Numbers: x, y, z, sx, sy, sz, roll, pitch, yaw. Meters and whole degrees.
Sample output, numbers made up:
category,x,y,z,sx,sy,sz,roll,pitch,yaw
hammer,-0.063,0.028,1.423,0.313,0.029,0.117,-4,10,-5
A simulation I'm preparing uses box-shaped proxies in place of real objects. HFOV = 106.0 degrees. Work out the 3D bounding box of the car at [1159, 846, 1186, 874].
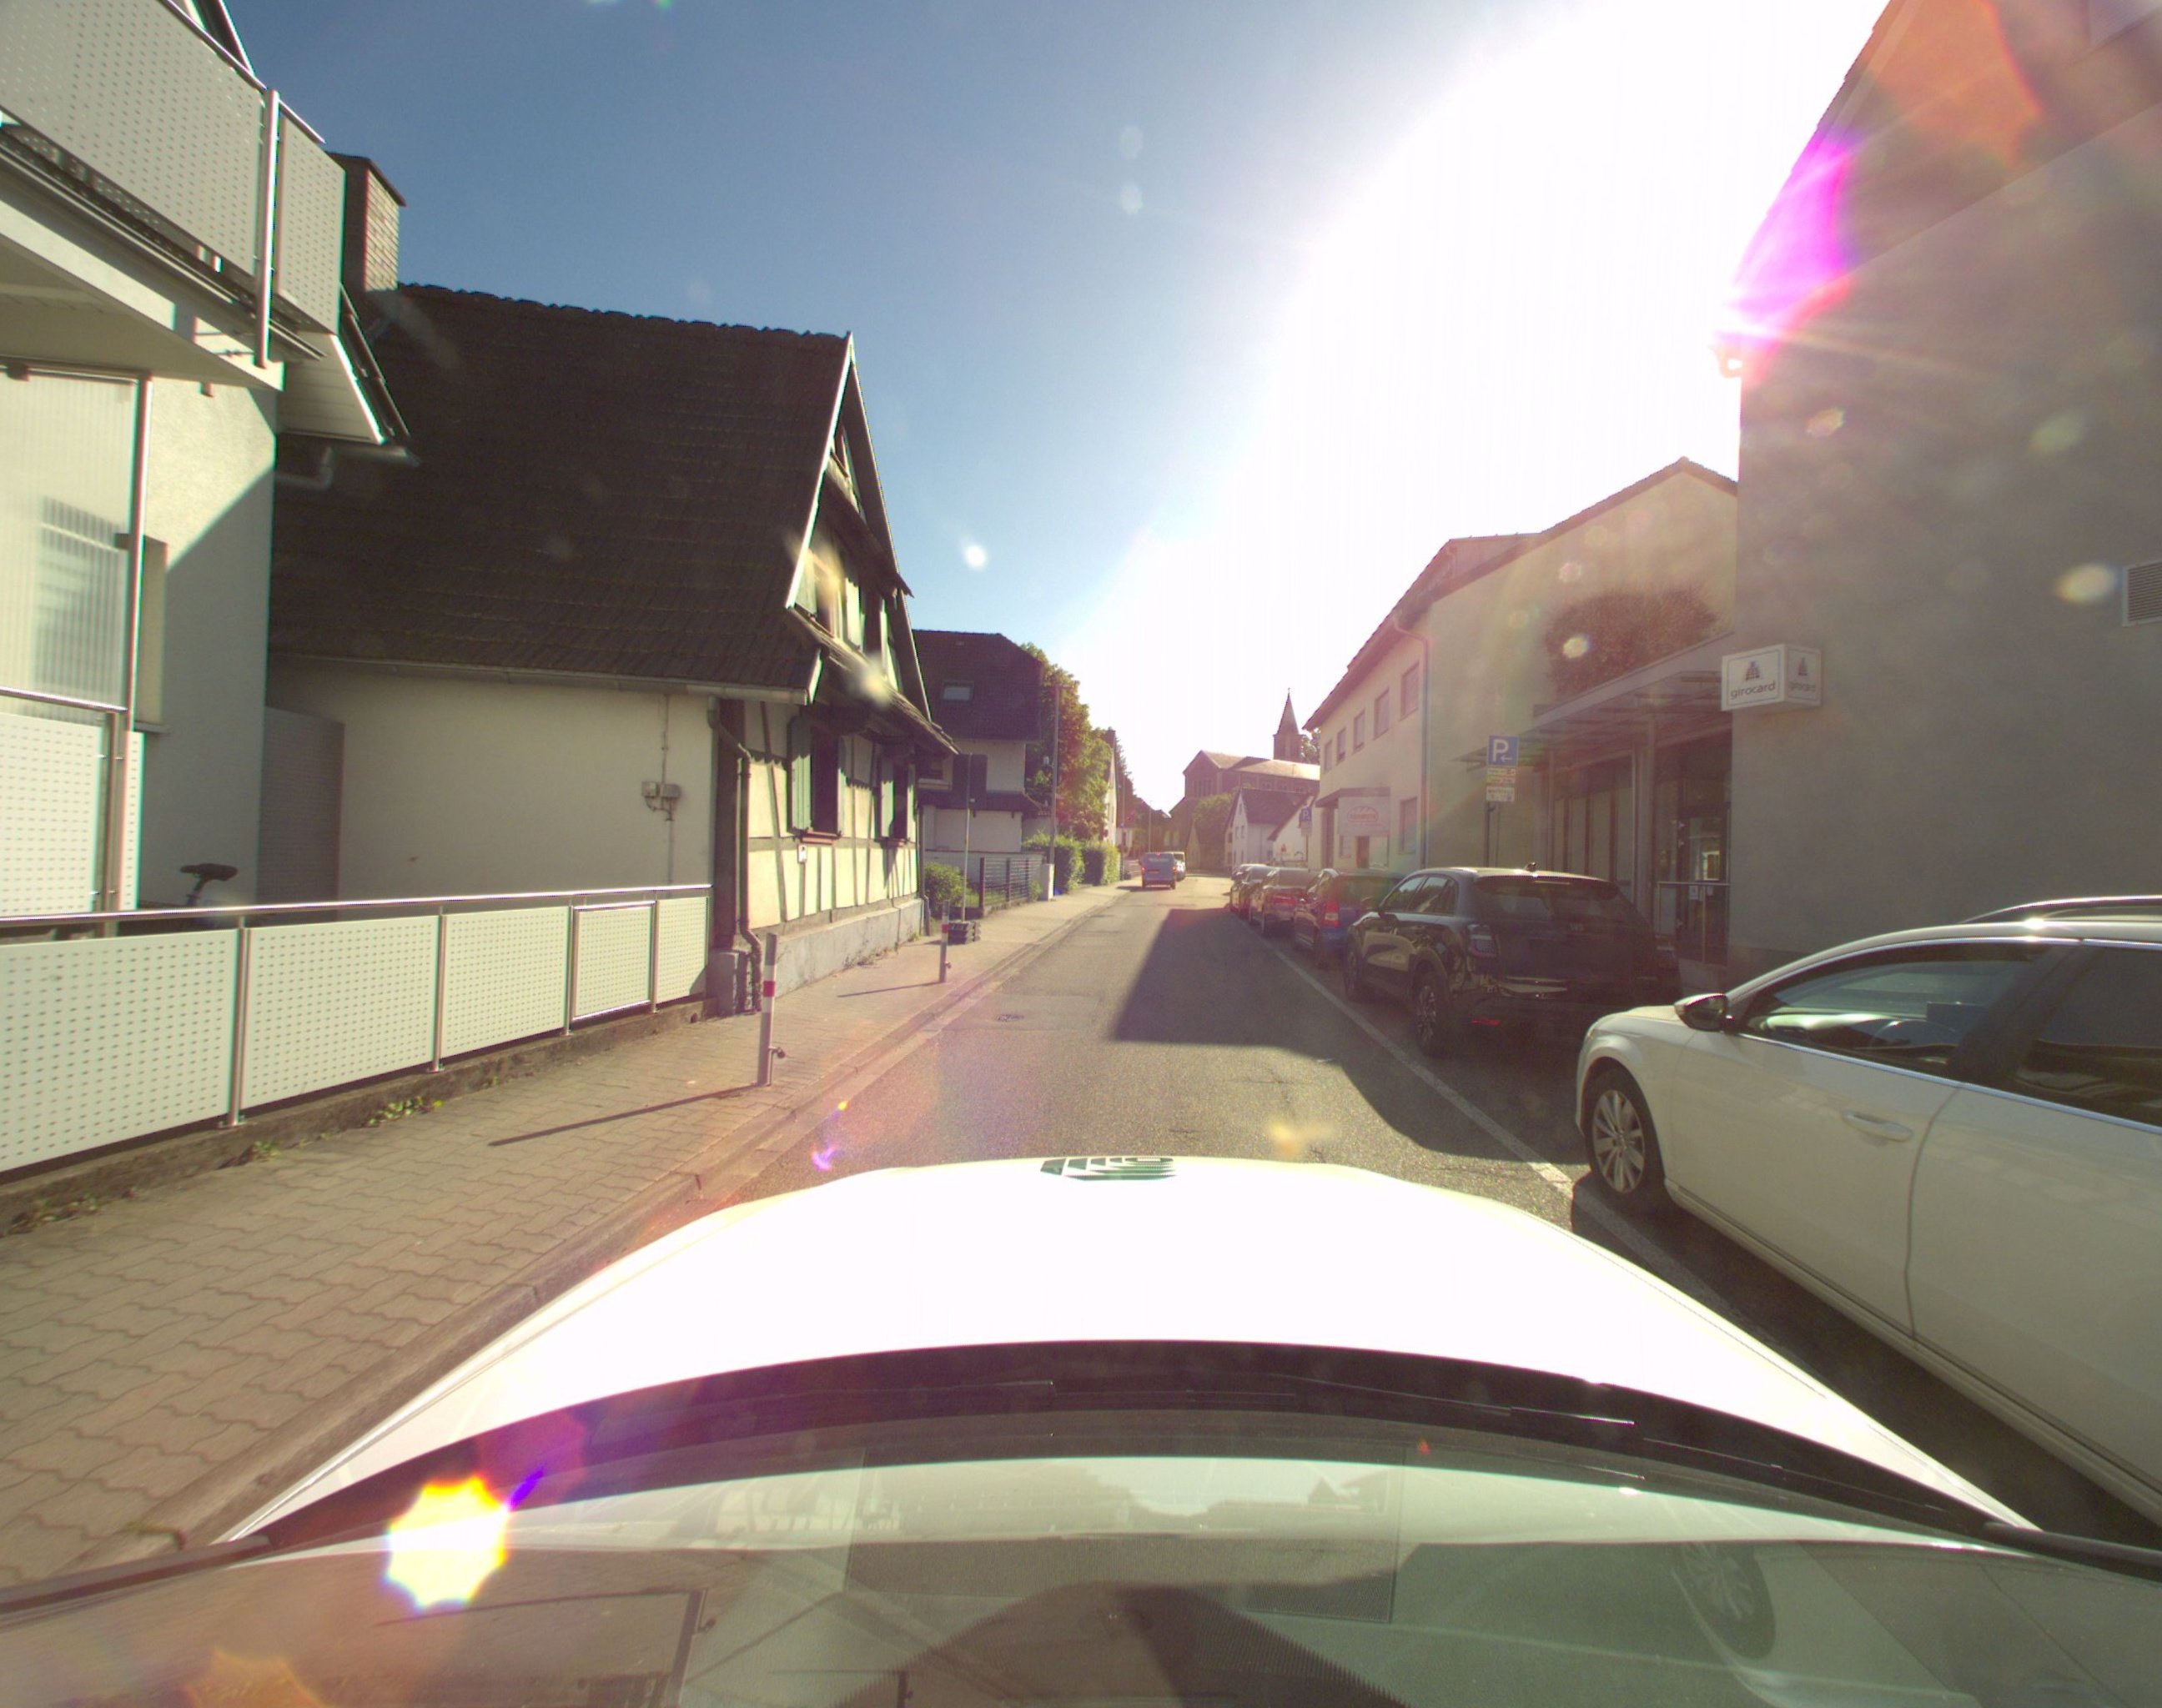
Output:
category,x,y,z,sx,sy,sz,roll,pitch,yaw
car,8.131,0.561,72.236,2.184,2.390,6.078,-1,-1,8

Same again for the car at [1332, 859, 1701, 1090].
category,x,y,z,sx,sy,sz,roll,pitch,yaw
car,3.657,0.853,7.700,1.602,1.521,3.977,3,0,5

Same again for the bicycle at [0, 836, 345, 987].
category,x,y,z,sx,sy,sz,roll,pitch,yaw
bicycle,-5.164,0.285,4.717,0.487,0.717,1.500,2,0,-4

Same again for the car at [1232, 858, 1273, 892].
category,x,y,z,sx,sy,sz,roll,pitch,yaw
car,8.399,1.009,39.899,1.799,1.475,4.675,2,0,12

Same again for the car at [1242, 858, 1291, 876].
category,x,y,z,sx,sy,sz,roll,pitch,yaw
car,15.736,1.107,68.977,3.882,1.492,1.855,0,-1,16

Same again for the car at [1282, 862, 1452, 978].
category,x,y,z,sx,sy,sz,roll,pitch,yaw
car,4.389,0.914,13.084,1.716,1.475,3.882,3,0,7

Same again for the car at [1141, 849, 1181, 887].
category,x,y,z,sx,sy,sz,roll,pitch,yaw
car,4.370,0.716,43.991,1.891,1.917,5.082,0,0,8

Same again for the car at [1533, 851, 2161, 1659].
category,x,y,z,sx,sy,sz,roll,pitch,yaw
car,3.055,0.779,2.083,1.835,1.514,4.517,2,0,8

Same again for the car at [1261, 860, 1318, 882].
category,x,y,z,sx,sy,sz,roll,pitch,yaw
car,16.756,1.336,65.419,4.050,1.688,1.899,1,0,-20

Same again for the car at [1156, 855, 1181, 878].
category,x,y,z,sx,sy,sz,roll,pitch,yaw
car,6.564,0.919,60.642,1.705,1.598,3.934,0,0,8

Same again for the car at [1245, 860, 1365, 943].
category,x,y,z,sx,sy,sz,roll,pitch,yaw
car,4.692,0.917,17.677,1.799,1.475,4.452,3,0,7

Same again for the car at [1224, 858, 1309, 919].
category,x,y,z,sx,sy,sz,roll,pitch,yaw
car,5.218,0.935,23.483,1.799,1.475,4.852,3,-1,6
